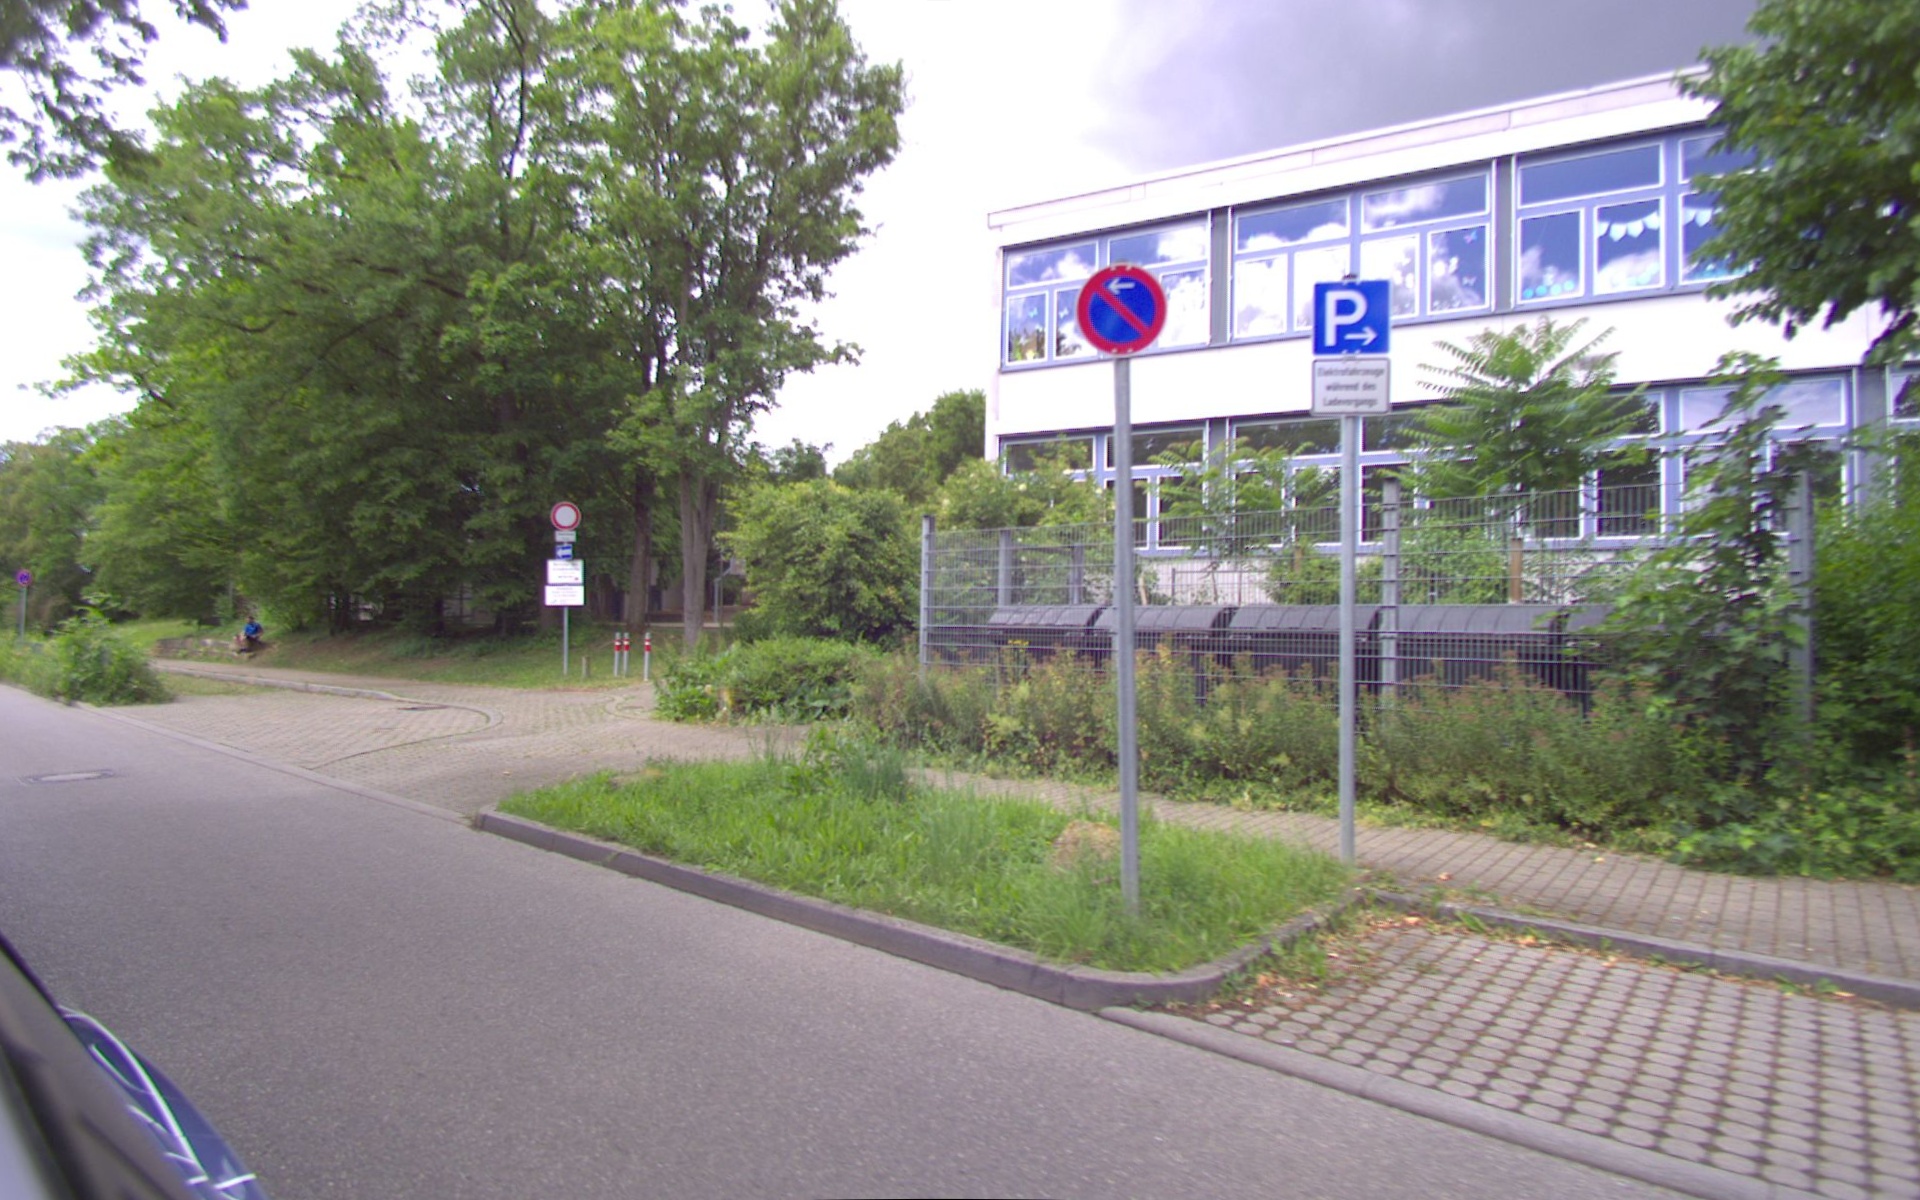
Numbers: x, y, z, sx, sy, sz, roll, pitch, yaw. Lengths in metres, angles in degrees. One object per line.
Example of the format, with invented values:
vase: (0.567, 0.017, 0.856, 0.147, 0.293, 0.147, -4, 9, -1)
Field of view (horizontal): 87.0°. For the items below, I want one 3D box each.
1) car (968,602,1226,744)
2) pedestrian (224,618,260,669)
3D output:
car: (2.127, 1.131, 16.680, 1.967, 2.029, 4.008, 2, -3, -37)
pedestrian: (-23.929, 1.453, 33.730, 0.808, 1.675, 0.752, -2, -3, 39)
